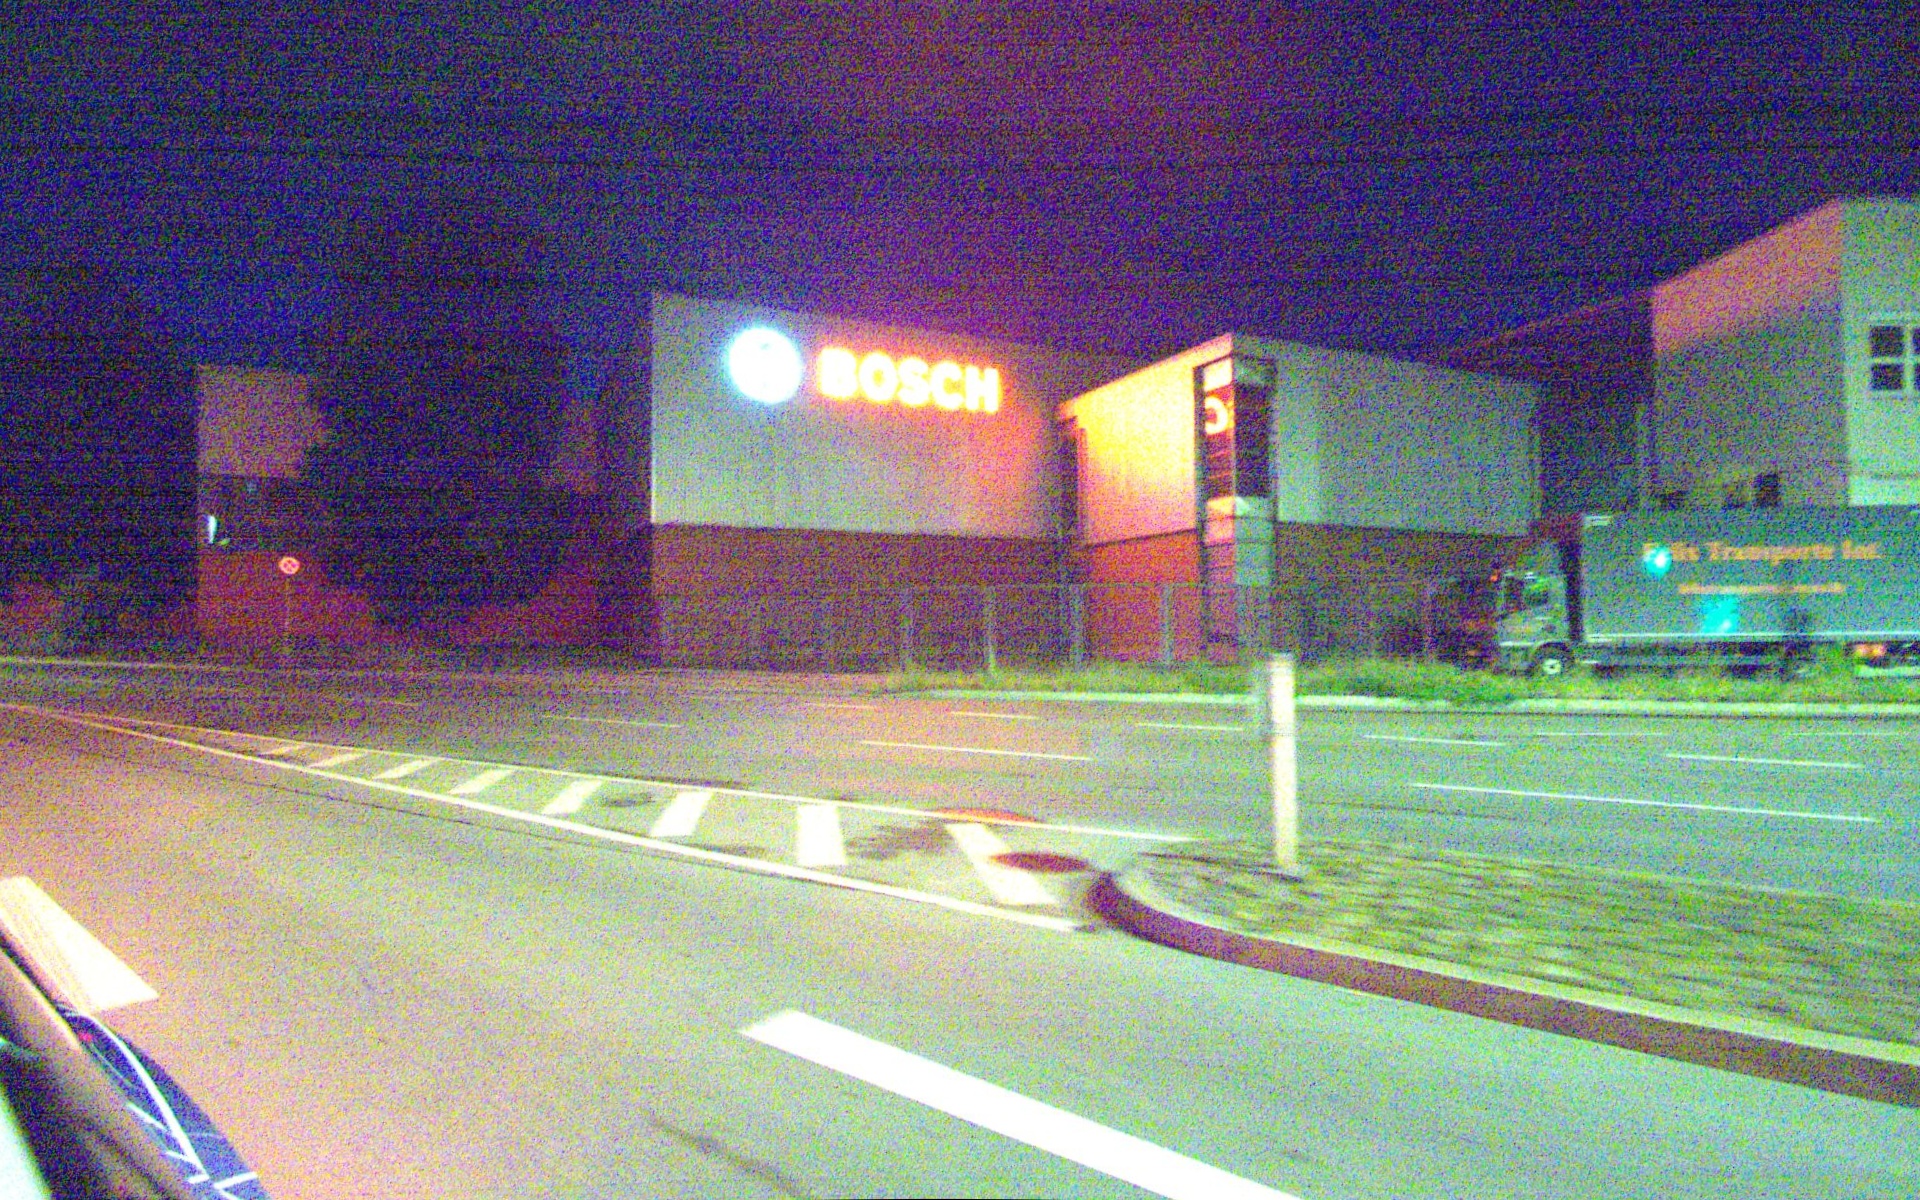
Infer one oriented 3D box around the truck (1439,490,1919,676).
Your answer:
[{"bbox_3d":[16.303,-0.338,22.801,9.441,3.825,2.942,0,-1,7],"label":"truck"}]
